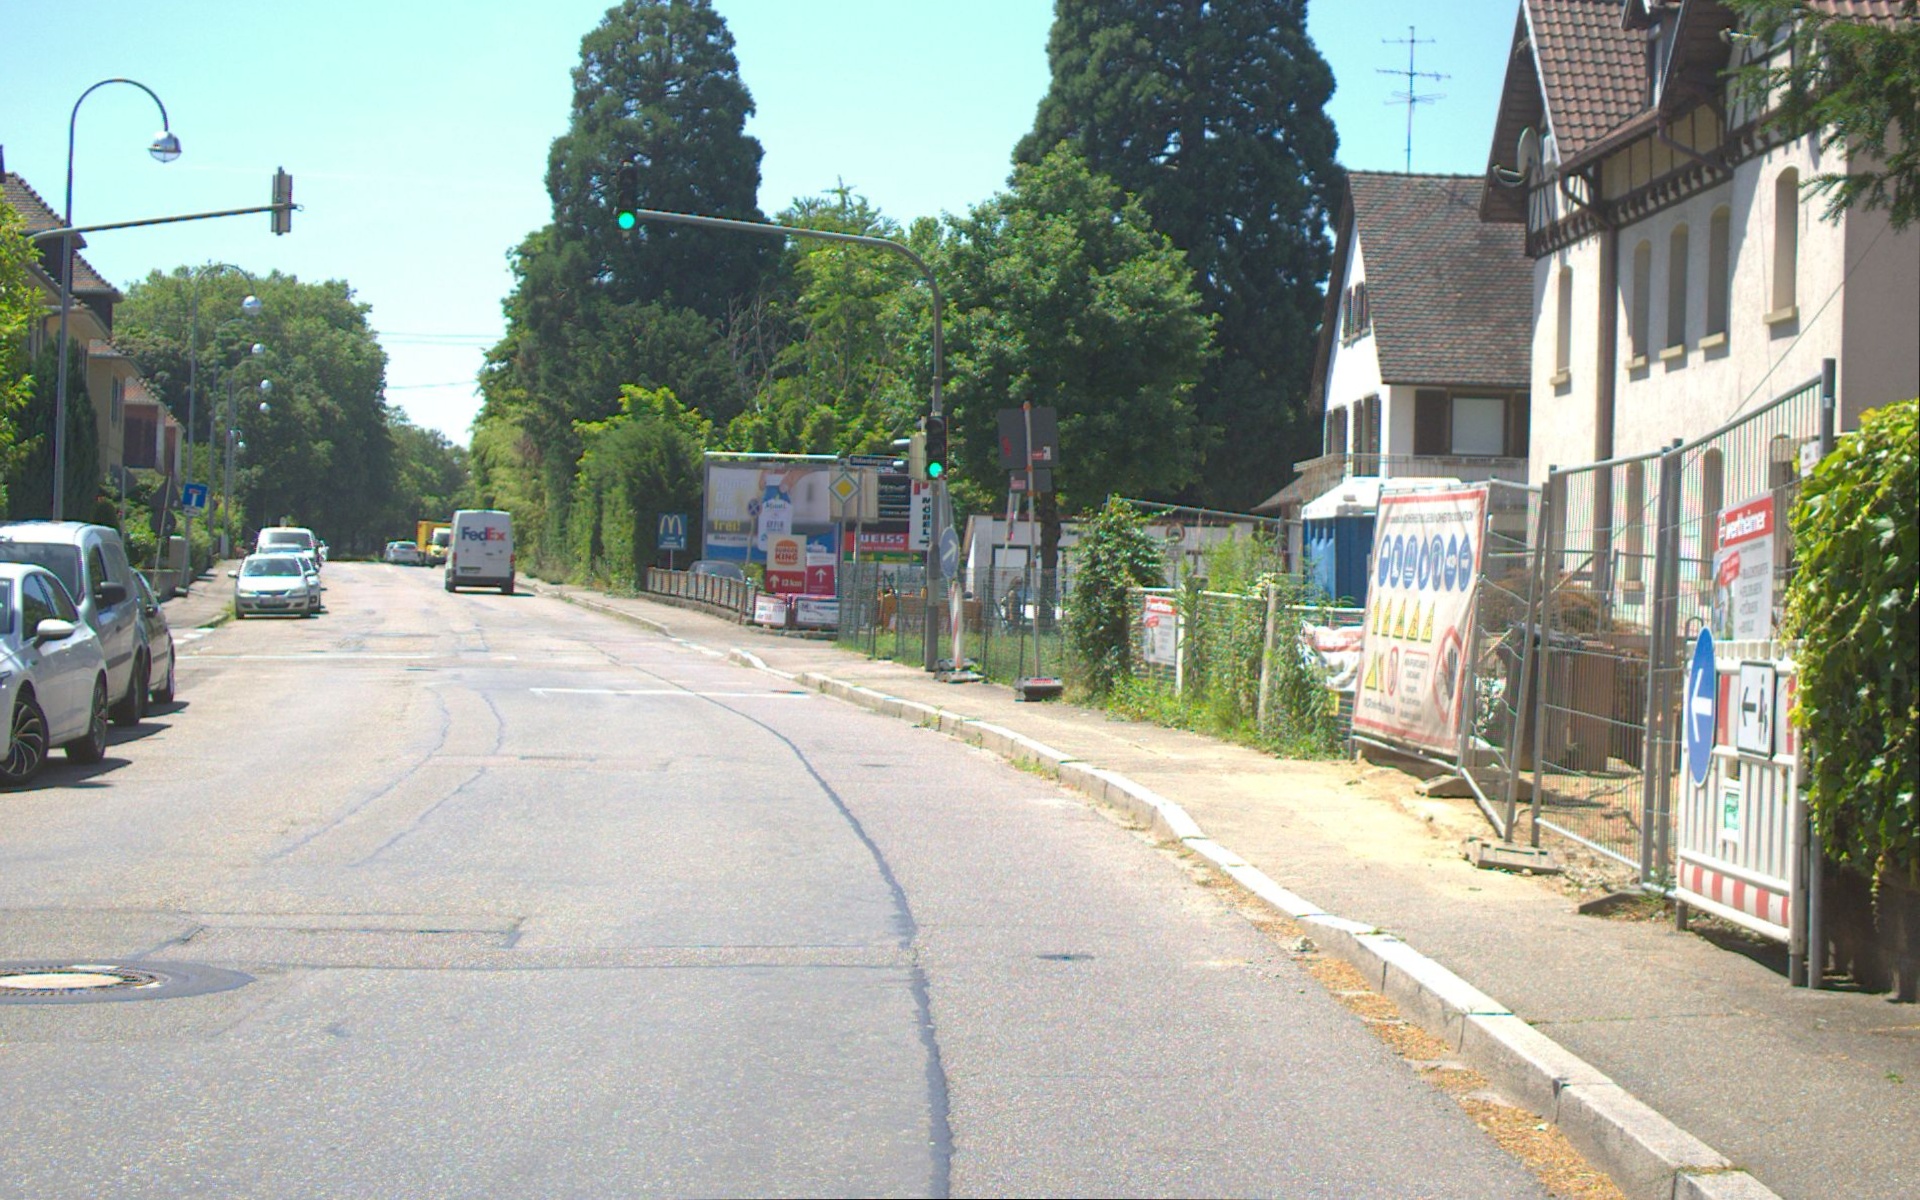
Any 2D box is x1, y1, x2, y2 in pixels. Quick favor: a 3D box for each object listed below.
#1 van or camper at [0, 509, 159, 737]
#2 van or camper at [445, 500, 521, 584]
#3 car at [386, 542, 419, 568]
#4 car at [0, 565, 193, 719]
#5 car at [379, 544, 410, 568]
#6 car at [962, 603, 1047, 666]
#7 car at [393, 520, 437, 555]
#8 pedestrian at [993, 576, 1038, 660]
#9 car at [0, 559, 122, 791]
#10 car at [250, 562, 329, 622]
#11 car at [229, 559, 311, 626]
[{"bbox_3d":[-7.882,0.171,29.085,1.680,1.798,3.986,0,0,-6],"label":"van or camper"},{"bbox_3d":[-14.882,-1.794,107.171,2.262,2.520,4.761,0,0,-8],"label":"van or camper"},{"bbox_3d":[-37.248,-2.977,229.676,1.993,1.656,4.001,2,0,-11],"label":"car"},{"bbox_3d":[-8.484,0.371,33.456,1.680,1.407,3.927,0,0,-8],"label":"car"},{"bbox_3d":[-40.150,-3.127,243.994,1.993,1.656,4.001,2,0,-11],"label":"car"},{"bbox_3d":[0.998,0.750,75.603,1.712,1.266,3.384,2,0,3],"label":"car"},{"bbox_3d":[-27.111,-3.079,170.877,1.993,1.656,4.001,2,0,-11],"label":"car"},{"bbox_3d":[1.083,0.351,67.434,0.695,1.594,0.573,3,0,-10],"label":"pedestrian"},{"bbox_3d":[-6.901,0.455,23.331,1.681,1.436,4.248,0,0,-4],"label":"car"},{"bbox_3d":[-16.014,-0.198,81.989,1.794,1.397,4.220,0,0,-12],"label":"car"},{"bbox_3d":[-15.462,-0.181,77.017,1.758,1.442,3.925,0,1,-12],"label":"car"}]
